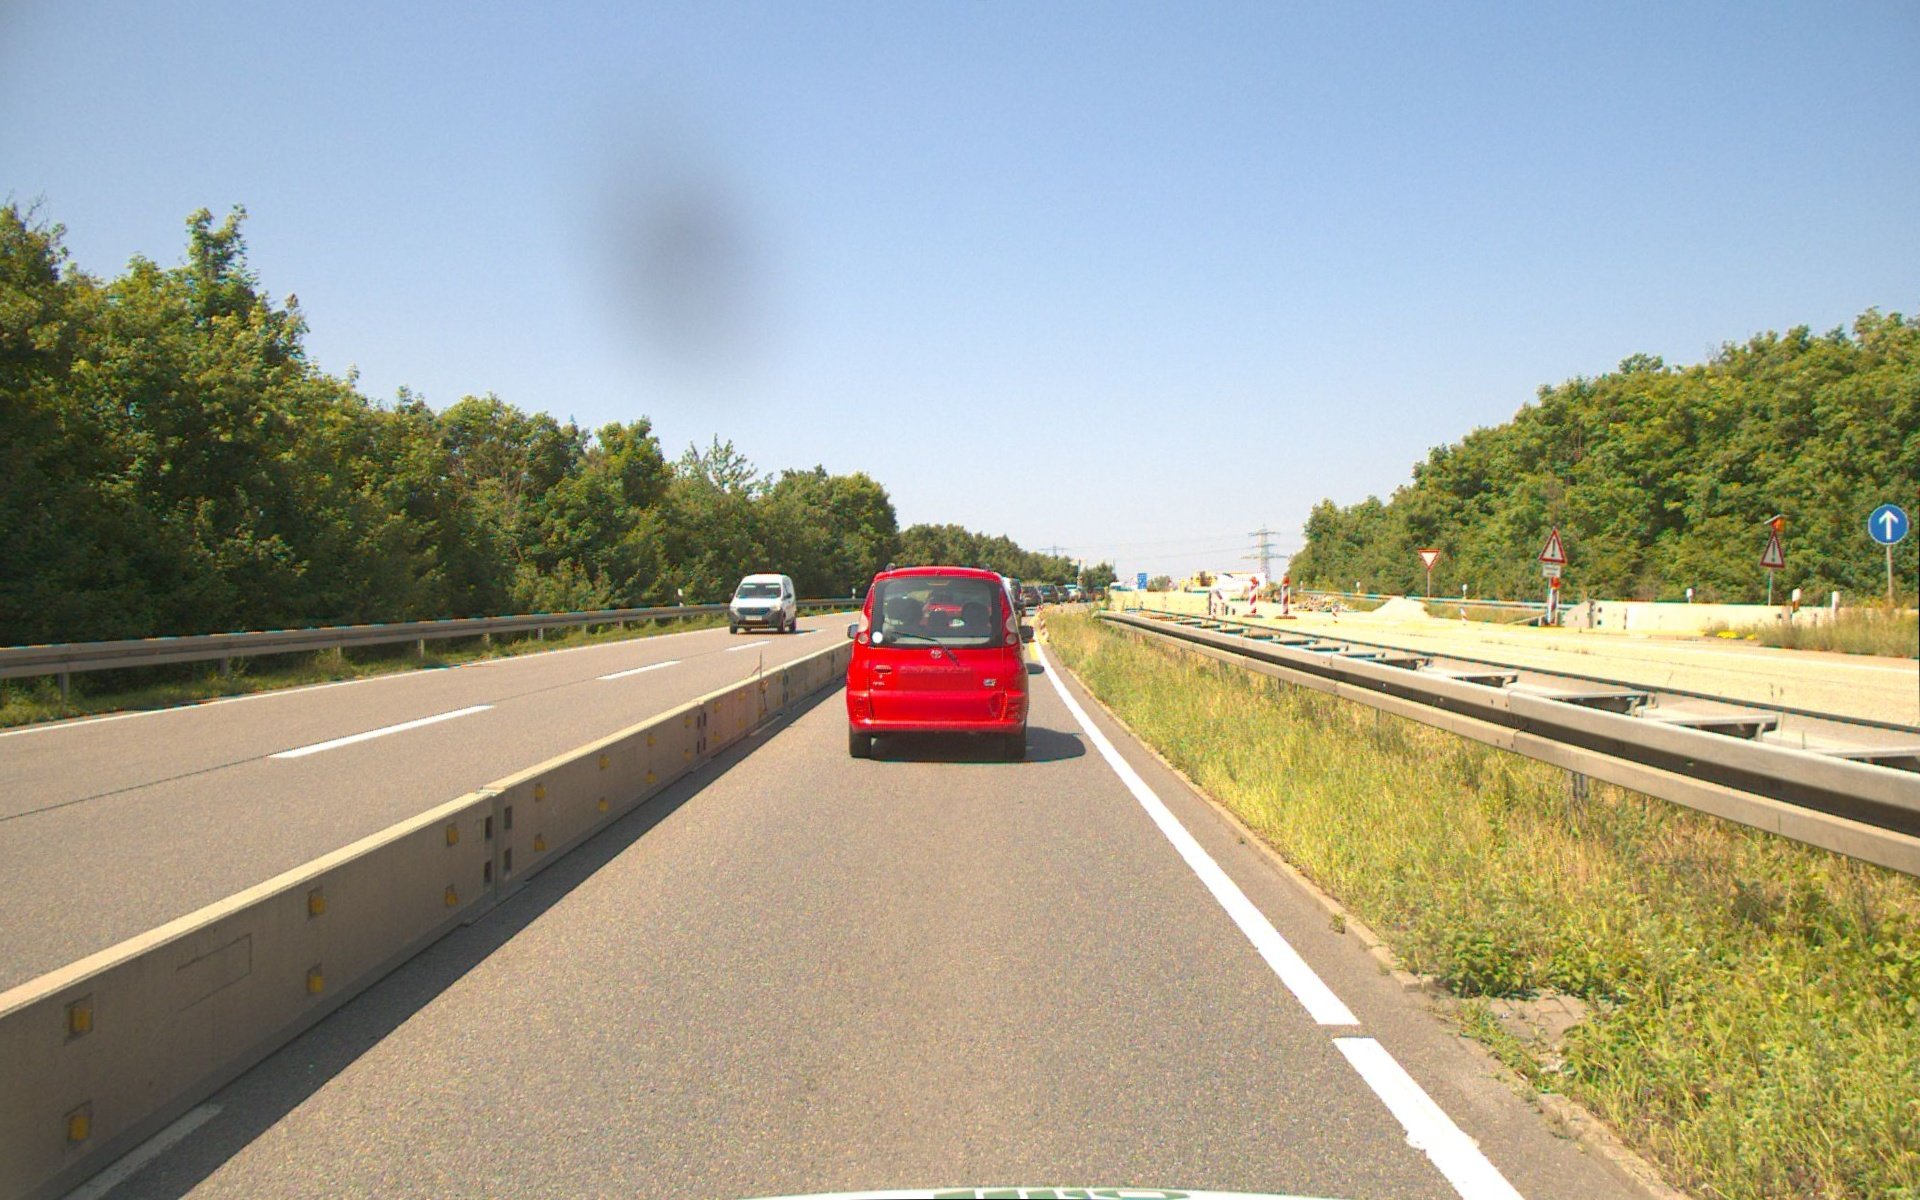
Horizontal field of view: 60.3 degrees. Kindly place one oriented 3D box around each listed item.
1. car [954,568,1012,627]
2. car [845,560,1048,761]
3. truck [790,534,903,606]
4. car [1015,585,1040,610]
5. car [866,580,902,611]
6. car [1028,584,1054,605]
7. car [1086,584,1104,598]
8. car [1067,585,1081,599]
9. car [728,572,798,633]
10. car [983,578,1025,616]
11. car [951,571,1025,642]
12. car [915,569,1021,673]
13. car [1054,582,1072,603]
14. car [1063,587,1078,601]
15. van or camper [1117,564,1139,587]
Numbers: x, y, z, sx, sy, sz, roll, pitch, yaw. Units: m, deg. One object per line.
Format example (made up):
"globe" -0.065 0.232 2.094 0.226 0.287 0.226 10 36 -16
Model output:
"car" 0.792 -0.096 59.351 1.953 2.038 4.000 1 0 -1
"car" -0.130 0.503 16.063 1.716 1.702 4.000 0 0 -1
"truck" -8.866 -2.328 130.060 8.440 5.469 3.390 -1 0 2
"car" 4.085 -0.139 100.615 1.471 1.476 3.326 0 0 1
"car" -4.214 -0.269 92.124 1.820 1.667 4.383 -1 0 -1
"car" 6.250 -0.441 127.995 1.952 1.612 4.002 0 0 3
"car" 16.060 -1.093 197.044 1.952 1.579 4.001 0 0 1
"car" 12.033 -0.820 174.305 1.470 1.476 3.171 0 0 4
"car" -6.137 0.062 51.935 1.720 1.795 4.283 -1 0 -1
"car" 2.108 -0.144 79.862 1.952 1.780 4.000 0 0 0
"car" 0.784 0.150 45.958 1.952 1.870 4.001 0 0 1
"car" 0.179 0.346 30.198 1.792 1.752 4.001 0 0 1
"car" 8.845 -0.620 142.232 1.471 1.767 3.171 -1 0 2
"car" 10.559 -0.579 157.811 1.391 1.321 2.880 0 0 3
"van or camper" 21.333 -3.108 210.316 2.280 2.754 4.592 0 0 -1
